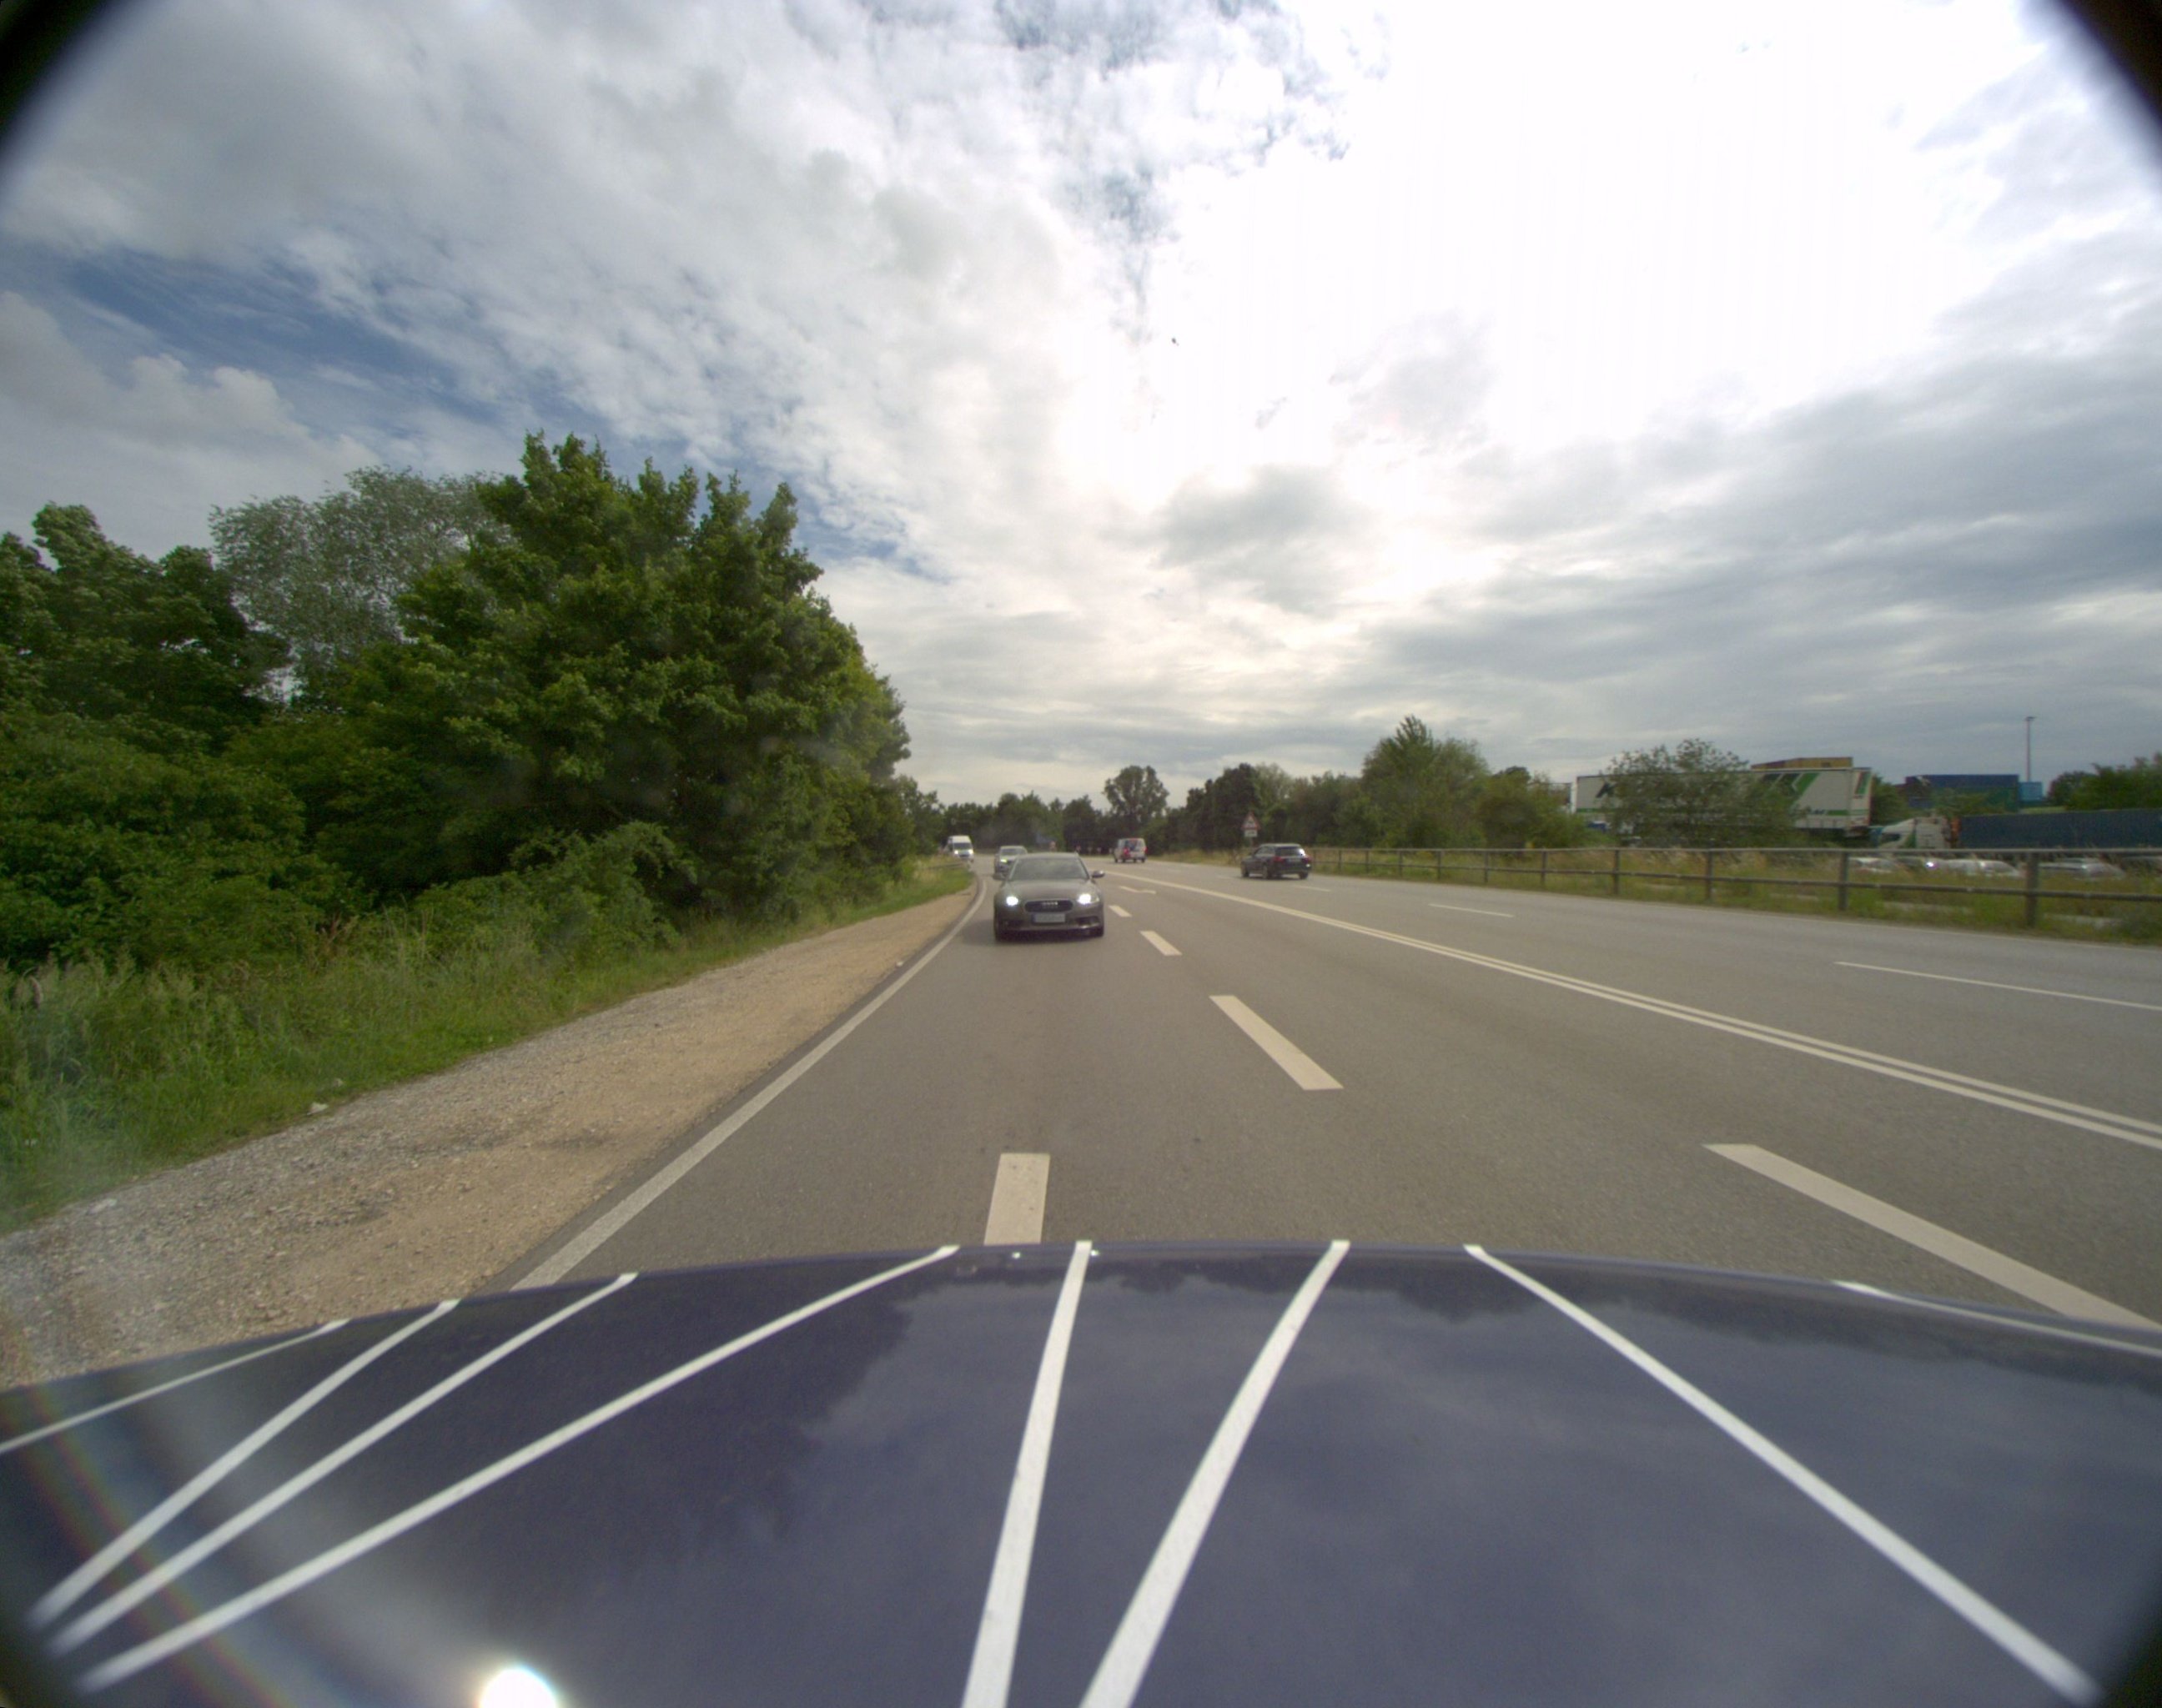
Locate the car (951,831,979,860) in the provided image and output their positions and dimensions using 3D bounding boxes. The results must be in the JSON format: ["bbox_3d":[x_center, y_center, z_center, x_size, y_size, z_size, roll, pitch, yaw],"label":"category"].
[{"bbox_3d":[-11.859,-0.817,77.371,2.221,2.654,5.233,-3,0,-14],"label":"car"}]

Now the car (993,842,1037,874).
[{"bbox_3d":[-3.787,0.197,42.957,2.022,1.603,4.276,-2,1,-11],"label":"car"}]

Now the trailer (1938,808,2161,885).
[{"bbox_3d":[60.756,-0.484,46.691,3.244,4.268,10.389,-2,1,-15],"label":"trailer"}]

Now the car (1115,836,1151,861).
[{"bbox_3d":[4.243,-0.471,63.106,2.000,2.002,4.663,-2,1,-9],"label":"car"}]

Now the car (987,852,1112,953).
[{"bbox_3d":[-0.655,0.765,14.160,1.958,1.527,3.998,-2,1,-5],"label":"car"}]

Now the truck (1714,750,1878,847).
[{"bbox_3d":[40.140,-2.977,42.858,2.808,4.968,6.175,-3,2,-29],"label":"truck"}]

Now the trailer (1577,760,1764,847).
[{"bbox_3d":[37.091,-2.979,48.327,2.811,4.968,8.963,-3,2,-29],"label":"trailer"}]

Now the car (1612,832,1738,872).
[{"bbox_3d":[29.543,-0.102,37.962,4.536,1.865,2.003,-1,1,21],"label":"car"}]

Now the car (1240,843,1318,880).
[{"bbox_3d":[8.339,0.285,32.418,1.814,1.433,4.351,-2,1,-5],"label":"car"}]

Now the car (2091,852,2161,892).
[{"bbox_3d":[50.819,0.814,36.265,4.002,1.709,1.841,-2,1,-16],"label":"car"}]

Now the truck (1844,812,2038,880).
[{"bbox_3d":[59.108,-0.573,52.639,3.244,4.268,8.306,-2,1,-15],"label":"truck"}]
